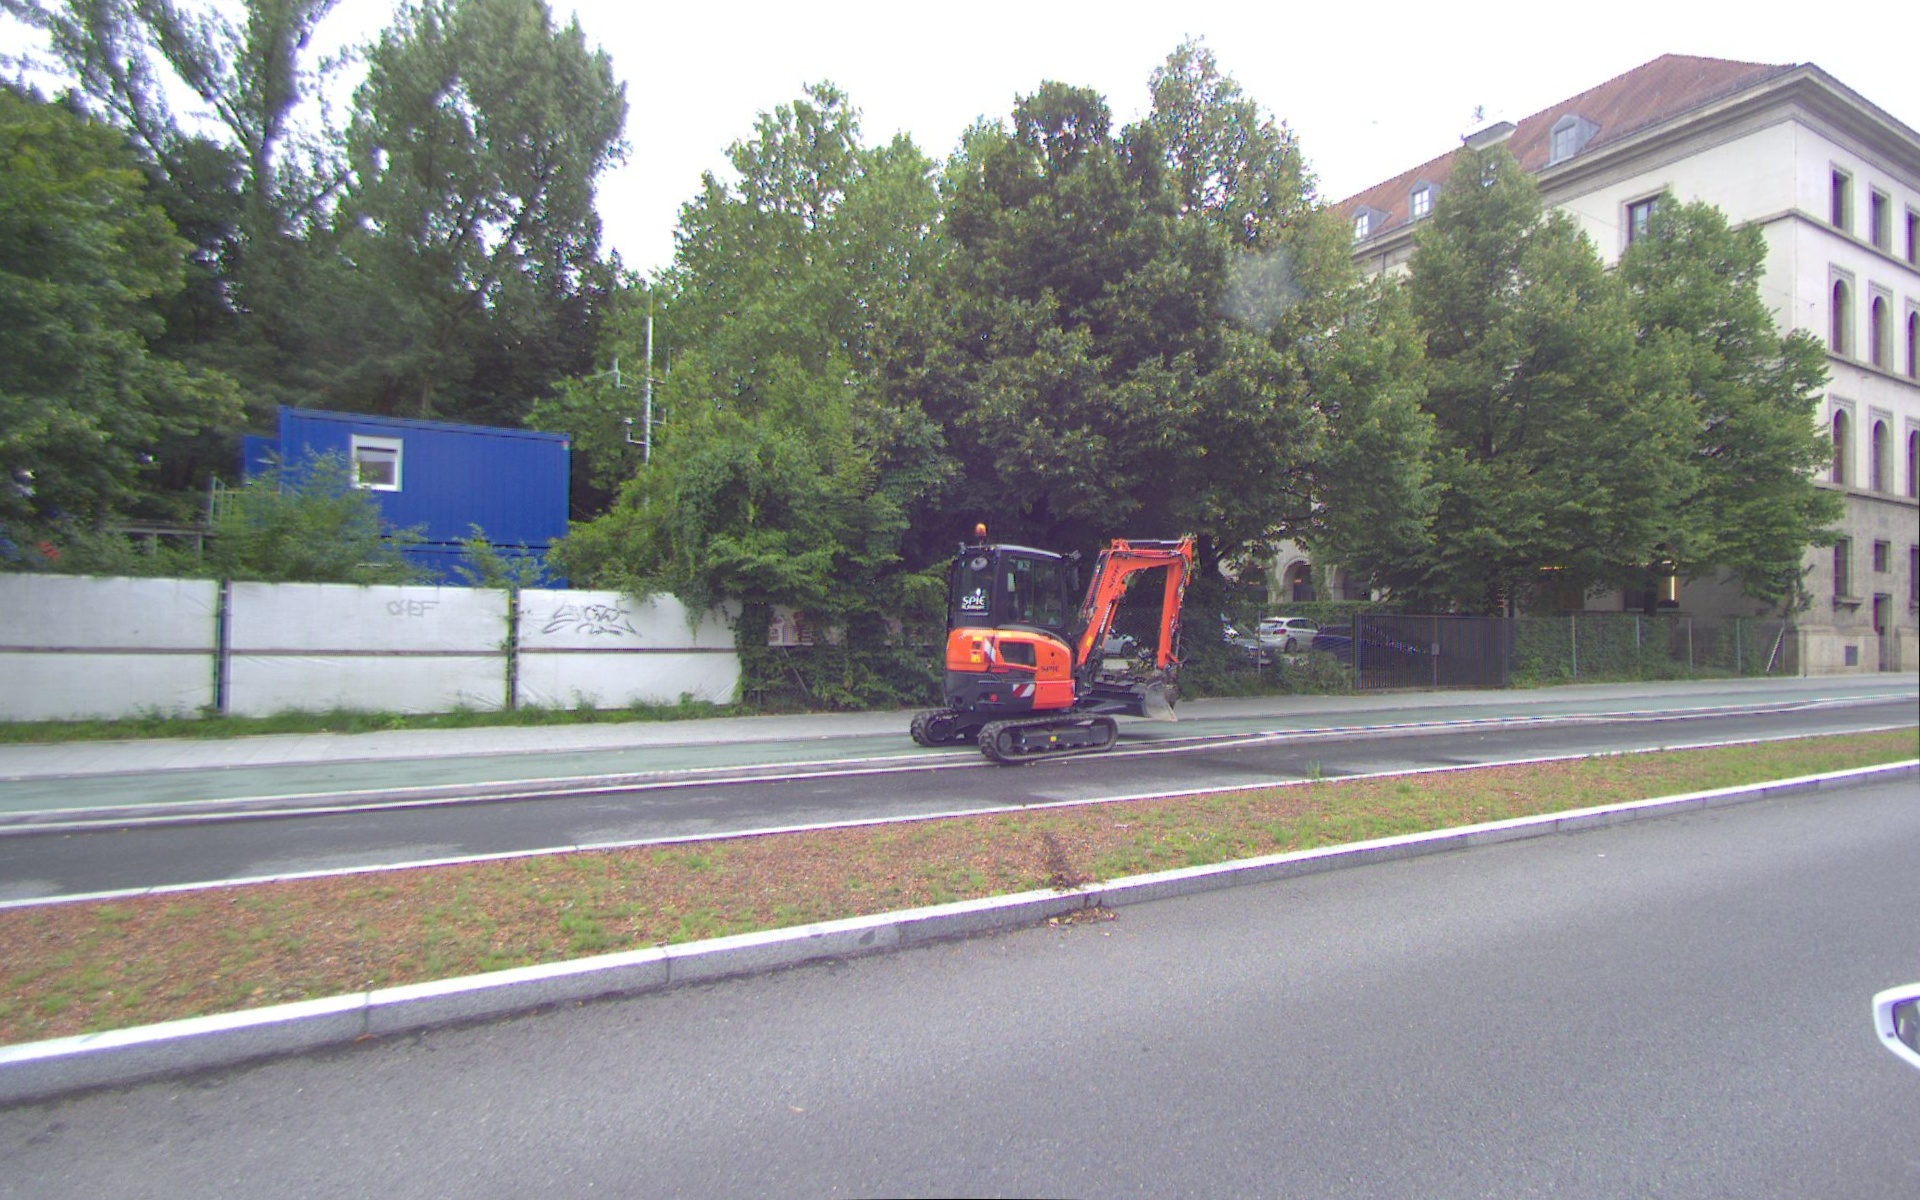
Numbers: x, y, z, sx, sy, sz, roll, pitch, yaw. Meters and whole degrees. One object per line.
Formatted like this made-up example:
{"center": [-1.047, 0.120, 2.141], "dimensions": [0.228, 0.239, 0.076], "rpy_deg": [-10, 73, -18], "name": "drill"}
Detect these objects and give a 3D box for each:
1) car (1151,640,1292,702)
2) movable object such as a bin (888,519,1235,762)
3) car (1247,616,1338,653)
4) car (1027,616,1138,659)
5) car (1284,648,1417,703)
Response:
{"center": [7.674, 2.032, 29.782], "dimensions": [1.815, 1.566, 3.908], "rpy_deg": [1, 0, -31], "name": "car"}
{"center": [1.485, 0.508, 13.352], "dimensions": [4.629, 2.676, 1.976], "rpy_deg": [2, -2, -41], "name": "movable object such as a bin"}
{"center": [15.013, 1.526, 45.330], "dimensions": [3.895, 1.566, 1.821], "rpy_deg": [1, 0, -31], "name": "car"}
{"center": [4.848, 1.441, 39.519], "dimensions": [4.130, 1.566, 1.821], "rpy_deg": [1, 0, -31], "name": "car"}
{"center": [13.044, 2.483, 33.766], "dimensions": [1.815, 1.566, 3.908], "rpy_deg": [1, 0, -31], "name": "car"}
